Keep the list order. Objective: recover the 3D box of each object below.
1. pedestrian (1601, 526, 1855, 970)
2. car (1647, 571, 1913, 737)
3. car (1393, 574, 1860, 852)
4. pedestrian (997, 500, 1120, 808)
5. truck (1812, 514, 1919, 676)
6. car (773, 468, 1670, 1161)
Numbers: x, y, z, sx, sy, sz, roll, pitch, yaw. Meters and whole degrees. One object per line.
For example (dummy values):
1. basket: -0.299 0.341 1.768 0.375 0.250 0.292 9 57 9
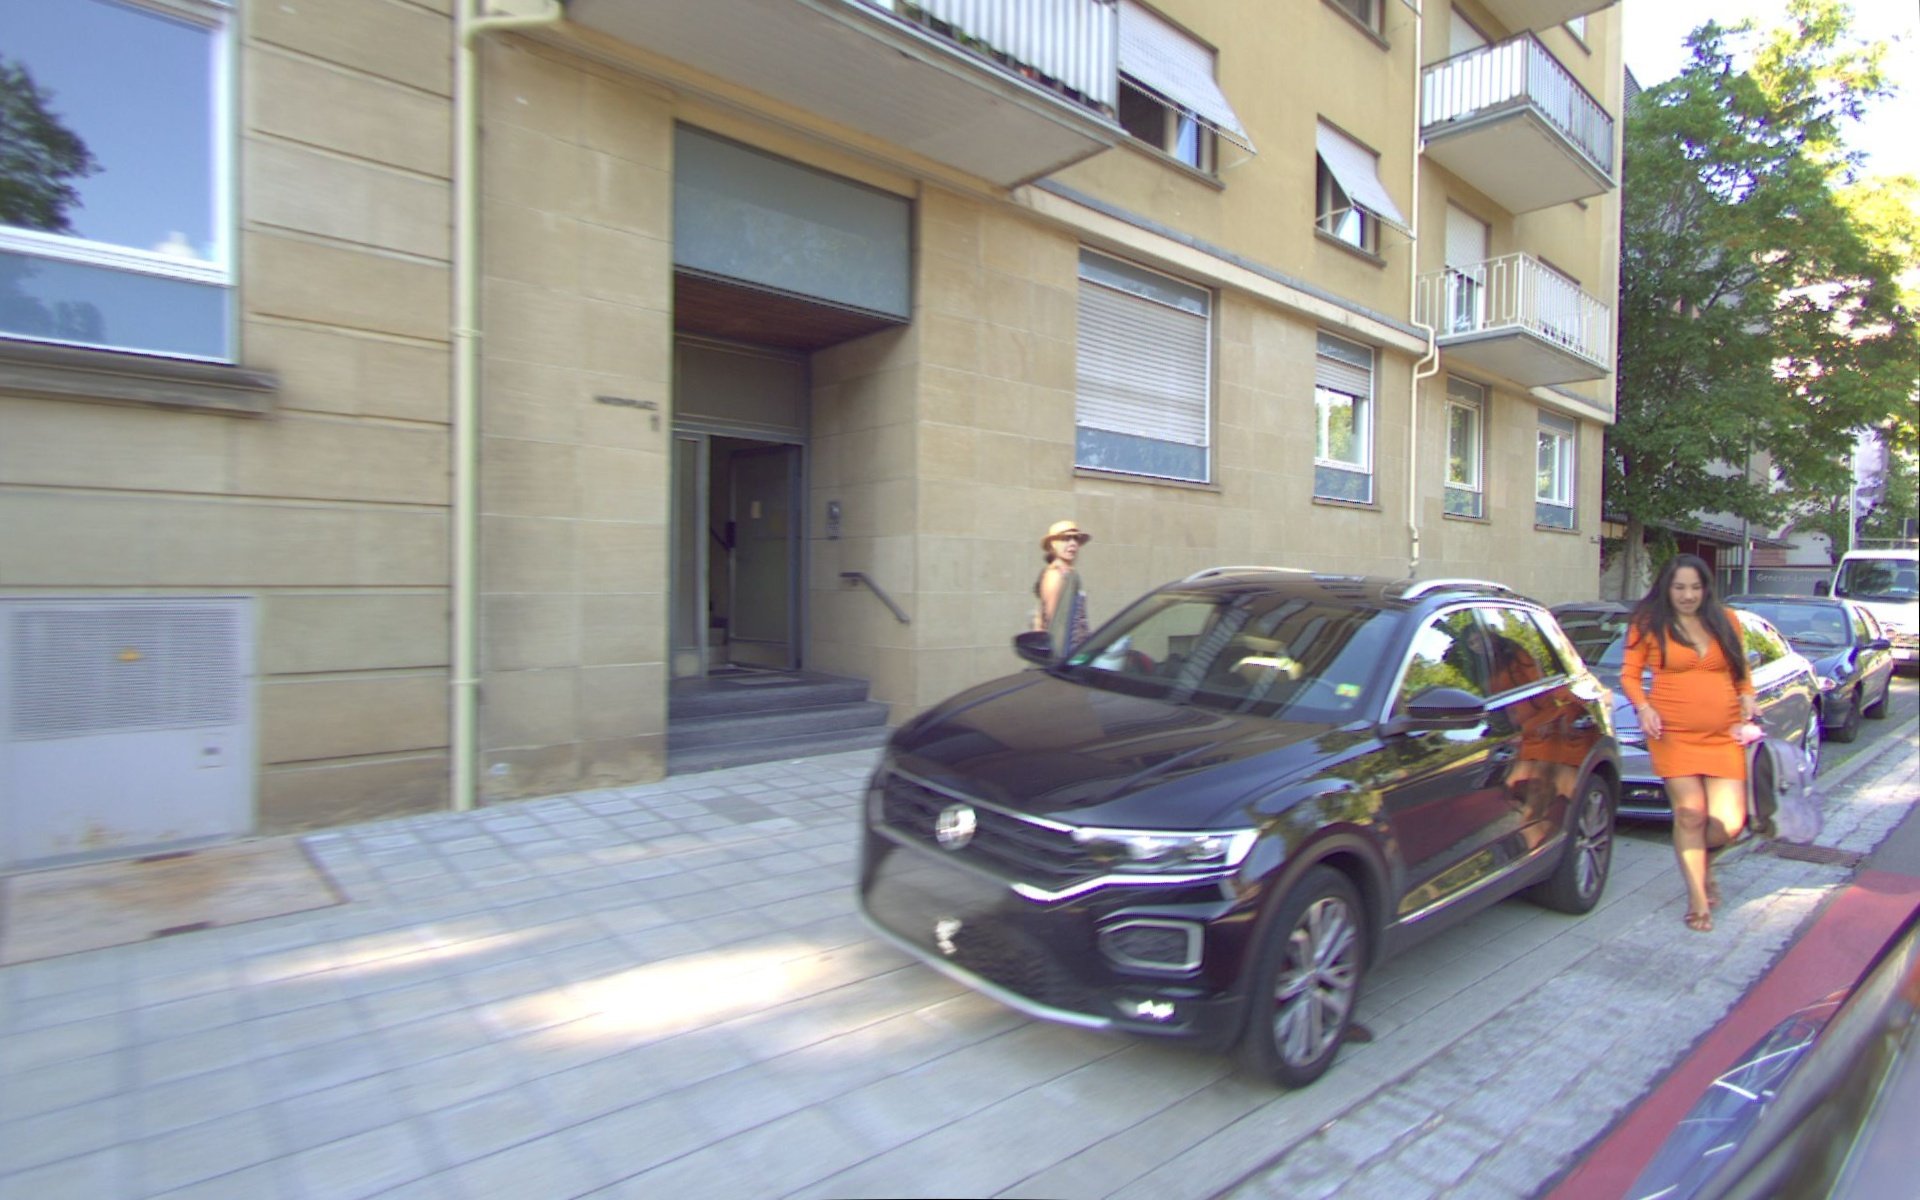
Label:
1. pedestrian: 3.555 0.587 4.683 0.939 1.791 0.777 -1 1 -42
2. car: 9.294 0.450 11.355 3.968 1.437 1.706 -2 5 -43
3. car: 5.176 0.579 7.625 4.271 1.437 1.708 -2 5 -39
4. pedestrian: 0.641 0.319 6.439 0.720 1.853 0.554 0 0 13
5. truck: 17.747 -0.168 18.506 6.755 2.595 2.133 -2 3 -40
6. car: 1.494 0.454 4.459 4.274 1.645 1.706 0 4 -42
